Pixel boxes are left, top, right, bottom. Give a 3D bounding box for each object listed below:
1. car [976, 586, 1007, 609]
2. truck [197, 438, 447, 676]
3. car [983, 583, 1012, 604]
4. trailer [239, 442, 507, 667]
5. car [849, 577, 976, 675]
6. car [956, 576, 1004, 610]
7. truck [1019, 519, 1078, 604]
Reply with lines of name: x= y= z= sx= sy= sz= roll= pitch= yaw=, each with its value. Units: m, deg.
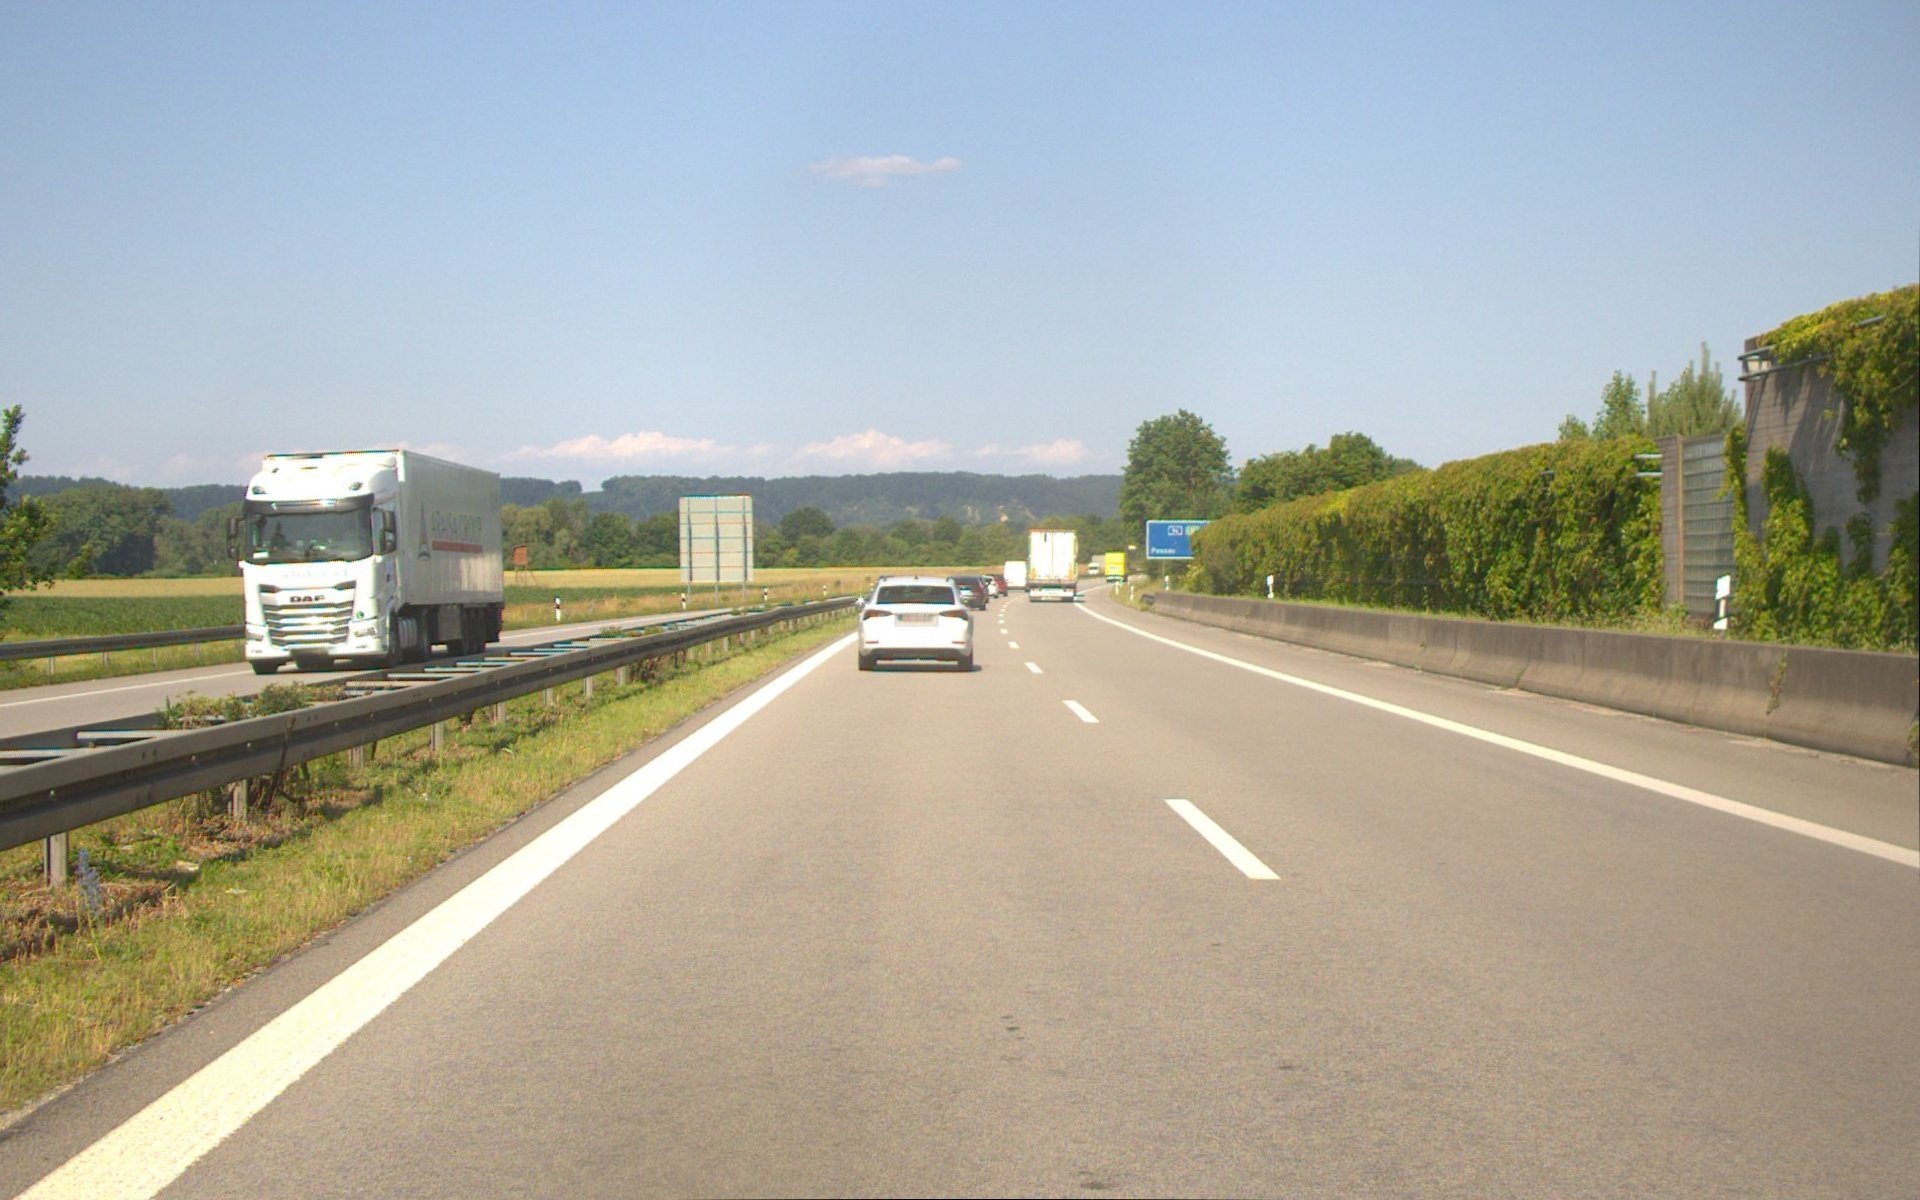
car: x=1.990 y=-0.173 z=217.690 sx=1.771 sy=1.416 sz=4.364 roll=1 pitch=0 yaw=3
truck: x=-11.818 y=-0.781 z=64.447 sx=3.156 sy=4.087 sz=7.735 roll=-2 pitch=0 yaw=0
car: x=2.589 y=-0.475 z=235.934 sx=1.771 sy=1.416 sz=4.364 roll=1 pitch=0 yaw=3
trailer: x=-11.864 y=-0.890 z=71.027 sx=3.151 sy=4.110 sz=13.442 roll=-2 pitch=0 yaw=0
car: x=-0.800 y=0.376 z=54.508 sx=1.840 sy=1.416 sz=5.255 roll=1 pitch=1 yaw=-2
car: x=0.852 y=-0.304 z=144.620 sx=1.771 sy=1.416 sz=4.495 roll=1 pitch=0 yaw=3
truck: x=4.974 y=-2.141 z=191.556 sx=3.152 sy=4.596 sz=8.904 roll=0 pitch=0 yaw=2
